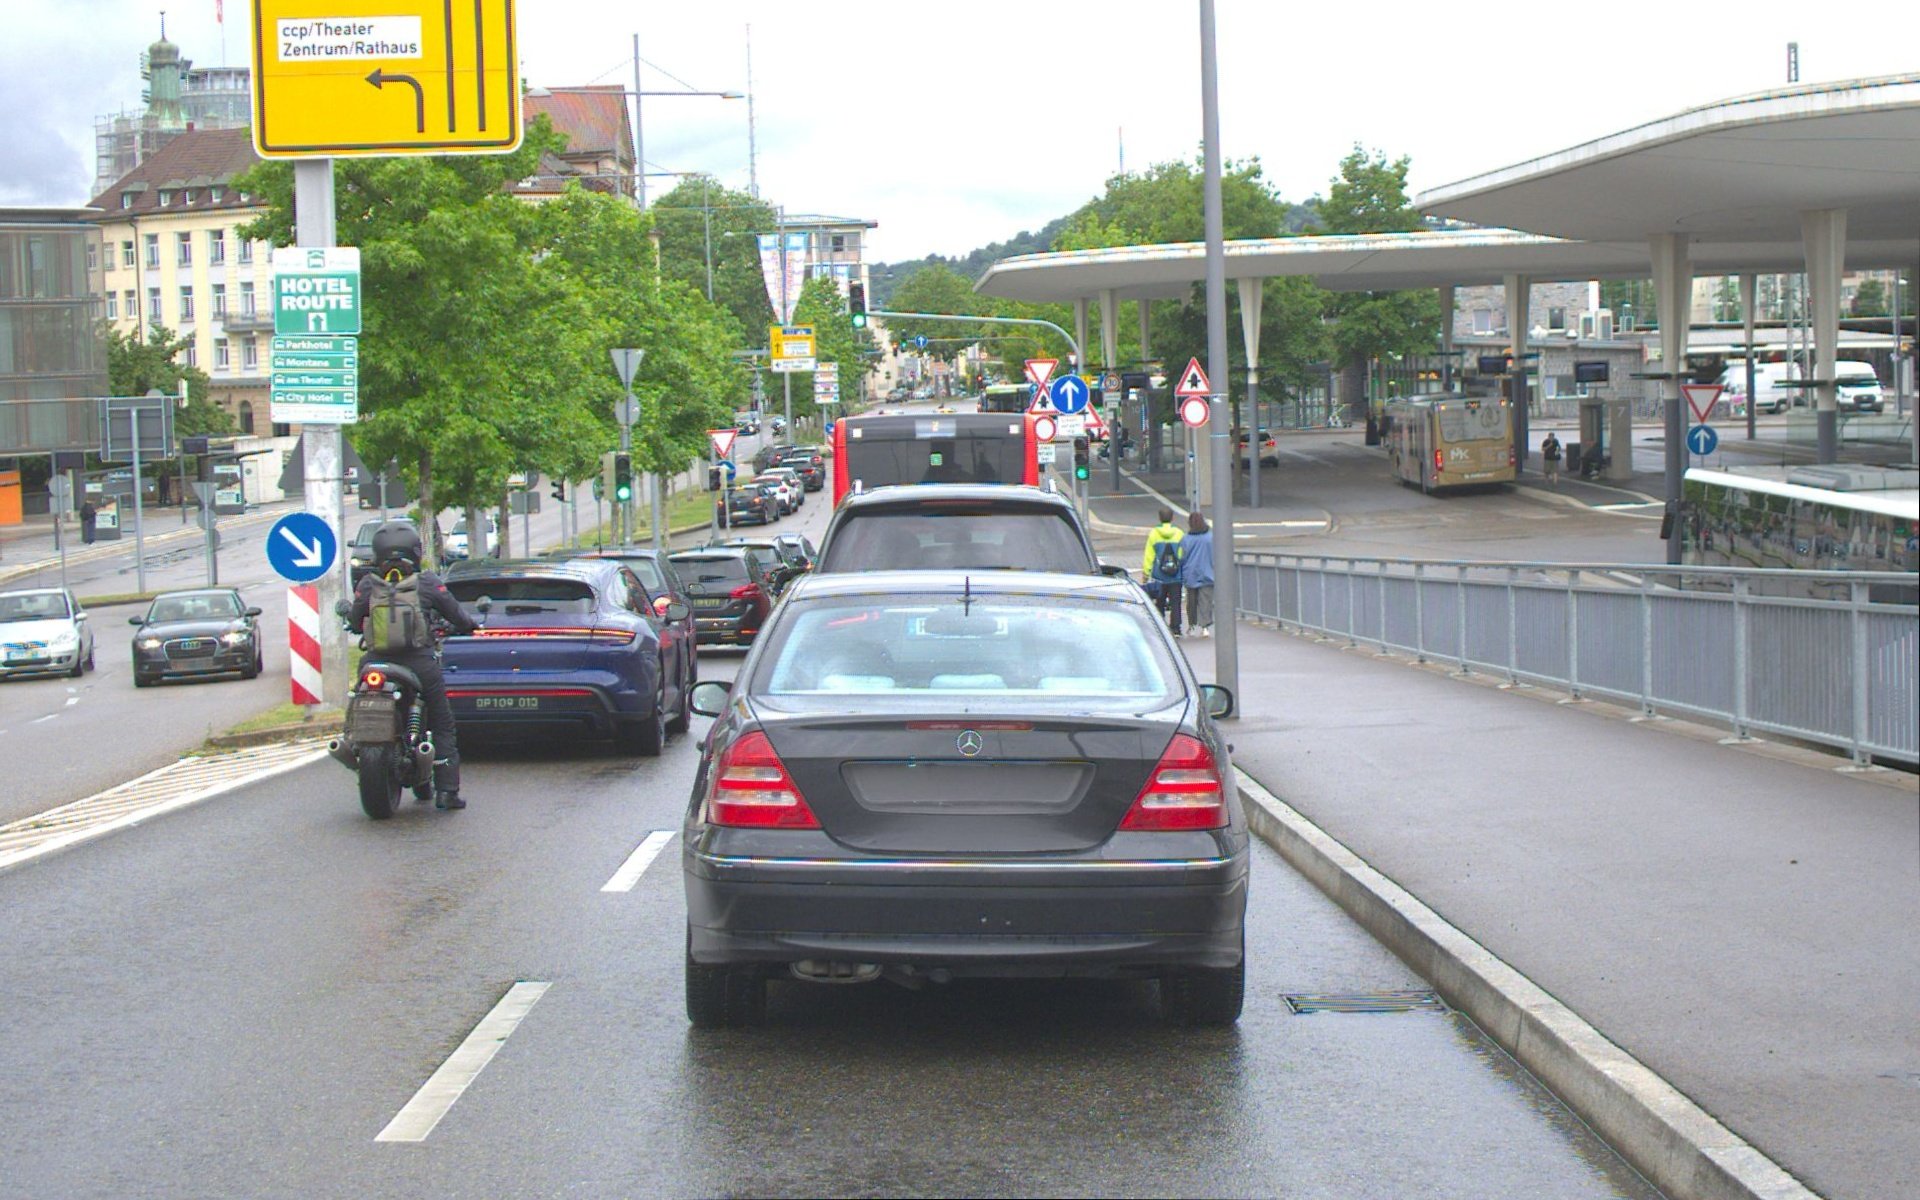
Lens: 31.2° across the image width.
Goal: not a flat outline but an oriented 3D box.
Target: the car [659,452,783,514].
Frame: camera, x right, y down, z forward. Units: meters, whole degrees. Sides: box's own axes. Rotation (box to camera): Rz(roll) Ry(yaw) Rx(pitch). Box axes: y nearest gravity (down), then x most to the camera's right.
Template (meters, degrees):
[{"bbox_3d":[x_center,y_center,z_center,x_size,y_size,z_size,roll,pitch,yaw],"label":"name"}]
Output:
[{"bbox_3d":[-8.284,-4.048,119.244,3.987,2.006,2.000,-2,2,4],"label":"car"}]

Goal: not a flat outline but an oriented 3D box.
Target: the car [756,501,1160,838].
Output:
[{"bbox_3d":[0.103,0.289,19.306,1.827,1.681,3.999,0,2,6],"label":"car"}]

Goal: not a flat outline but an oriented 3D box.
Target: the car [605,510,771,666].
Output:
[{"bbox_3d":[-3.631,-0.205,46.523,1.993,1.999,4.001,0,2,-1],"label":"car"}]

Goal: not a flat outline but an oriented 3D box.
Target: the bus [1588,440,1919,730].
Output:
[{"bbox_3d":[10.670,-0.343,46.348,2.646,3.225,7.074,-2,5,-4],"label":"bus"}]

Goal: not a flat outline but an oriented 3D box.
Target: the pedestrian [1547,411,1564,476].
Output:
[{"bbox_3d":[18.718,-4.924,108.106,0.424,2.006,0.483,-2,2,2],"label":"pedestrian"}]

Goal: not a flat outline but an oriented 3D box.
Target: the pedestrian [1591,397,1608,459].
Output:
[{"bbox_3d":[21.059,-5.668,113.147,0.424,2.006,0.483,-2,2,2],"label":"pedestrian"}]

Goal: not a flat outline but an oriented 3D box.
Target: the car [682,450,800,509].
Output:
[{"bbox_3d":[-7.967,-4.381,125.097,3.987,2.006,2.000,-2,2,4],"label":"car"}]

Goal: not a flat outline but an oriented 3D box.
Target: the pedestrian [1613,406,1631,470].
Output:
[{"bbox_3d":[21.100,-5.165,109.633,0.424,2.007,0.483,-2,-1,2],"label":"pedestrian"}]

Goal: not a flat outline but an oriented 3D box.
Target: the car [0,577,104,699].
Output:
[{"bbox_3d":[-16.576,0.653,61.416,1.993,2.007,4.001,-2,1,-8],"label":"car"}]

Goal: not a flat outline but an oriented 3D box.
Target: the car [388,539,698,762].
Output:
[{"bbox_3d":[-2.932,0.301,24.917,1.760,1.431,4.000,0,2,0],"label":"car"}]

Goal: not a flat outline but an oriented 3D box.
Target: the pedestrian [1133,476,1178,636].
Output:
[{"bbox_3d":[2.480,-0.558,43.634,0.489,2.007,0.469,-2,-1,2],"label":"pedestrian"}]

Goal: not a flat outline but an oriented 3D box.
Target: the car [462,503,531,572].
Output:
[{"bbox_3d":[-14.227,-1.890,105.701,1.993,2.007,4.203,-2,0,-7],"label":"car"}]

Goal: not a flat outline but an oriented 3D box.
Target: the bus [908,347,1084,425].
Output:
[{"bbox_3d":[1.865,-11.571,185.531,3.257,3.993,10.891,-6,7,-38],"label":"bus"}]

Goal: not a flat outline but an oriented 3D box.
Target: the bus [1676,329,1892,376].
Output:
[{"bbox_3d":[40.826,-12.261,170.404,10.167,2.006,2.170,-2,2,-3],"label":"bus"}]

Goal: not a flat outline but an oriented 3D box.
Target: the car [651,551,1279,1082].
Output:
[{"bbox_3d":[0.039,0.565,11.260,1.706,1.415,3.726,0,1,1],"label":"car"}]

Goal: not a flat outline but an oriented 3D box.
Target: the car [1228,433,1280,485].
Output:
[{"bbox_3d":[11.831,-5.657,138.216,1.994,2.006,4.000,-2,2,5],"label":"car"}]

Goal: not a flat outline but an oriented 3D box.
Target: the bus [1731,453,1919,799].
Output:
[{"bbox_3d":[11.134,0.143,39.210,2.646,3.225,7.074,-2,5,-4],"label":"bus"}]

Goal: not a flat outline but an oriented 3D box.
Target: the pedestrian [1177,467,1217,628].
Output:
[{"bbox_3d":[3.002,-0.660,43.567,0.424,2.007,0.483,-2,-1,2],"label":"pedestrian"}]

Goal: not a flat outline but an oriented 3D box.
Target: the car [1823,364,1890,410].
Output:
[{"bbox_3d":[41.242,-9.792,158.219,1.993,2.006,4.001,-2,3,-1],"label":"car"}]

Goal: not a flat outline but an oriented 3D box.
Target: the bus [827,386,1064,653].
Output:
[{"bbox_3d":[-0.229,-1.096,46.278,2.827,3.178,10.310,0,1,-1],"label":"bus"}]

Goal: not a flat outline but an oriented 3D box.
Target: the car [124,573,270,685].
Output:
[{"bbox_3d":[-12.104,0.422,54.756,1.832,1.521,4.596,-2,2,-8],"label":"car"}]

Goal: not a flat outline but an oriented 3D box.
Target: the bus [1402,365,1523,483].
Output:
[{"bbox_3d":[16.387,-5.675,112.800,3.179,3.588,10.509,-1,2,5],"label":"bus"}]

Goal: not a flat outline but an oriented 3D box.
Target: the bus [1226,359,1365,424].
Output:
[{"bbox_3d":[18.688,-11.598,191.554,7.197,3.384,3.083,-2,3,-4],"label":"bus"}]

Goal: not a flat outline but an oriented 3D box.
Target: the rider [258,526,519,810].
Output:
[{"bbox_3d":[-3.139,0.331,19.117,0.881,1.467,2.196,1,2,6],"label":"rider"}]

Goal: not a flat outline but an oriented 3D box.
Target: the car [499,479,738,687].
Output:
[{"bbox_3d":[-3.414,-0.222,35.048,1.993,1.999,4.000,0,2,1],"label":"car"}]
